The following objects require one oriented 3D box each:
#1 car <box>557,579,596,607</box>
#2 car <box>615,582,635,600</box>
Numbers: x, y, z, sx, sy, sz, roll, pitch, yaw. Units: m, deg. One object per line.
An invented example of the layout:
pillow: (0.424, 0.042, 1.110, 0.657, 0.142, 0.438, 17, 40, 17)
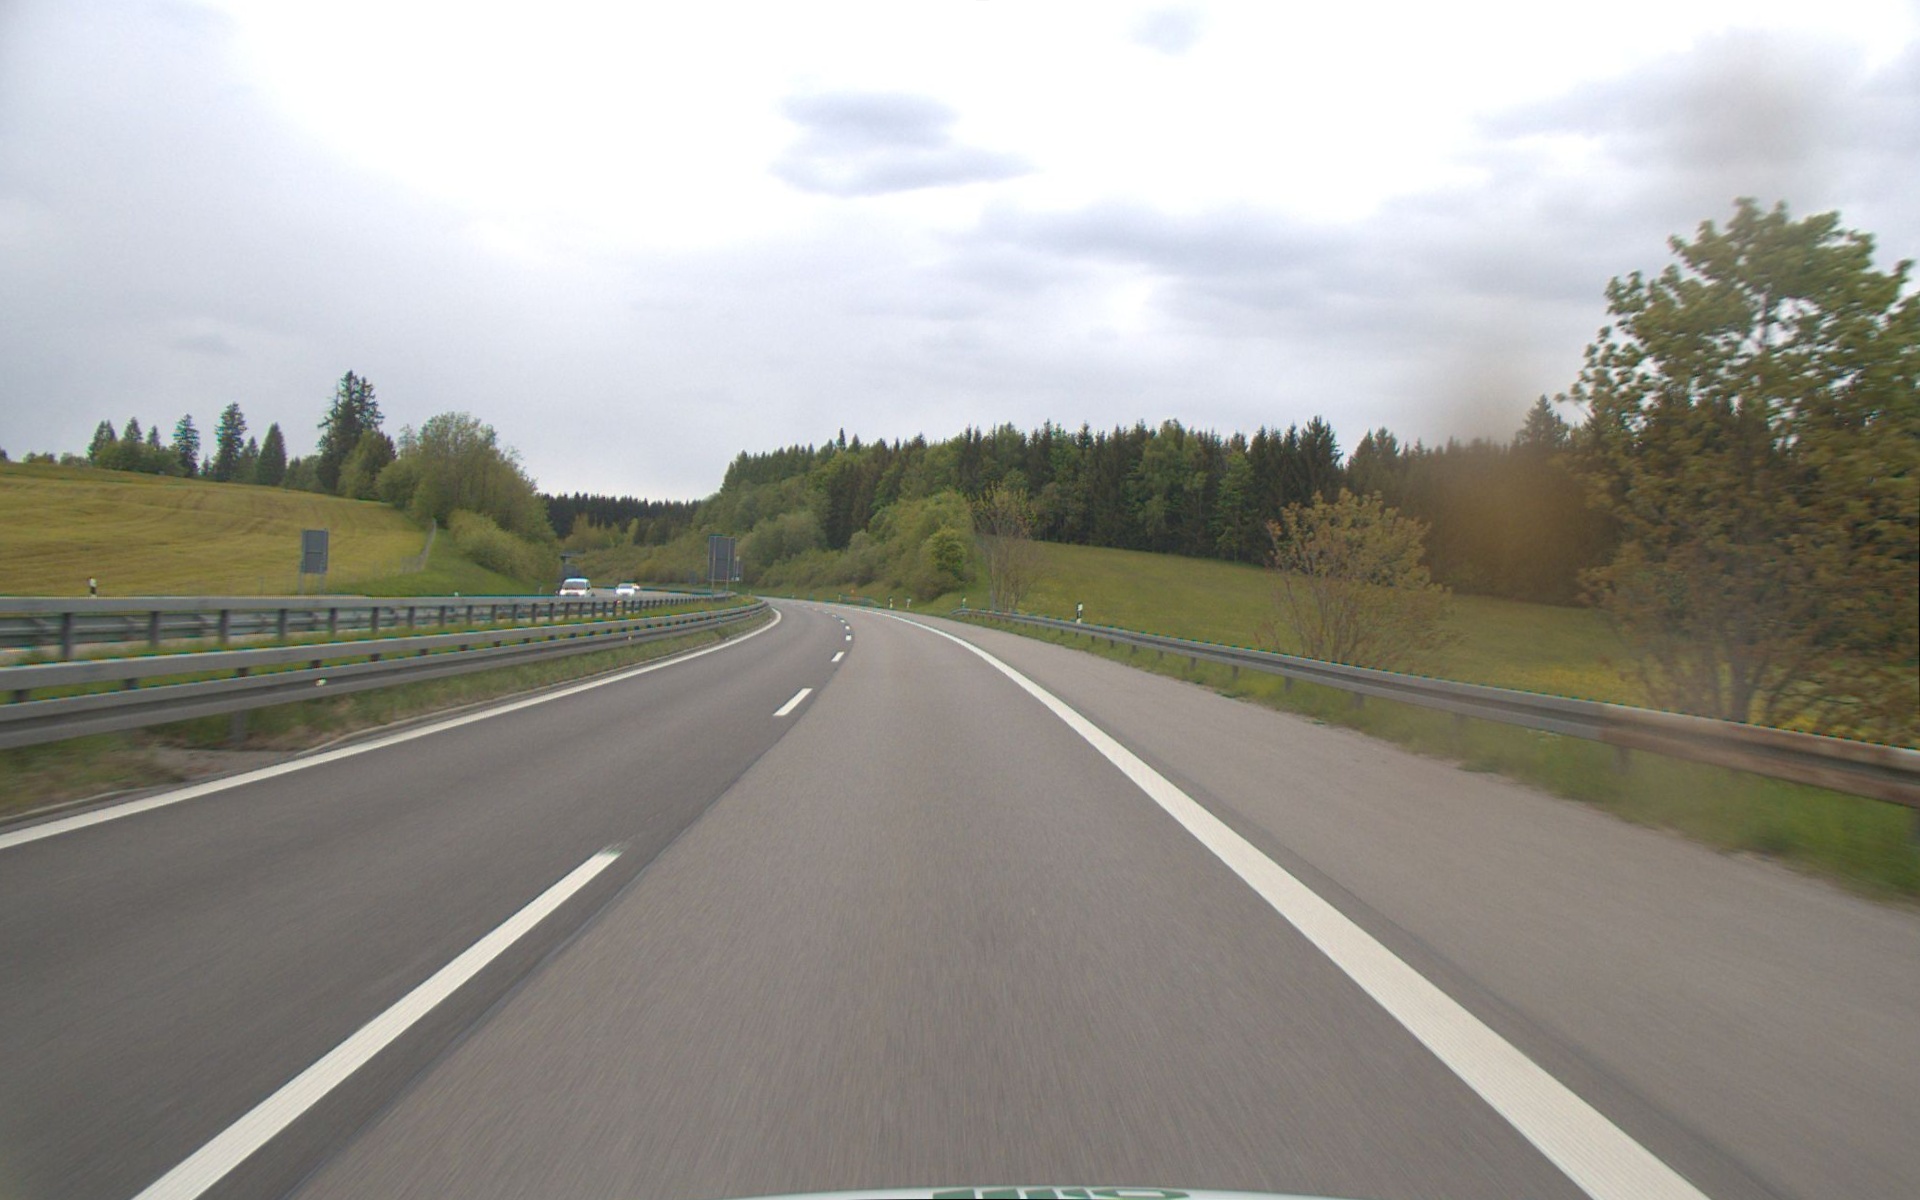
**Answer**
car: (-26.086, -0.475, 112.554, 1.955, 1.715, 4.621, 4, 0, -6)
car: (-35.521, -0.936, 175.470, 1.999, 1.720, 5.042, 4, 0, -11)
